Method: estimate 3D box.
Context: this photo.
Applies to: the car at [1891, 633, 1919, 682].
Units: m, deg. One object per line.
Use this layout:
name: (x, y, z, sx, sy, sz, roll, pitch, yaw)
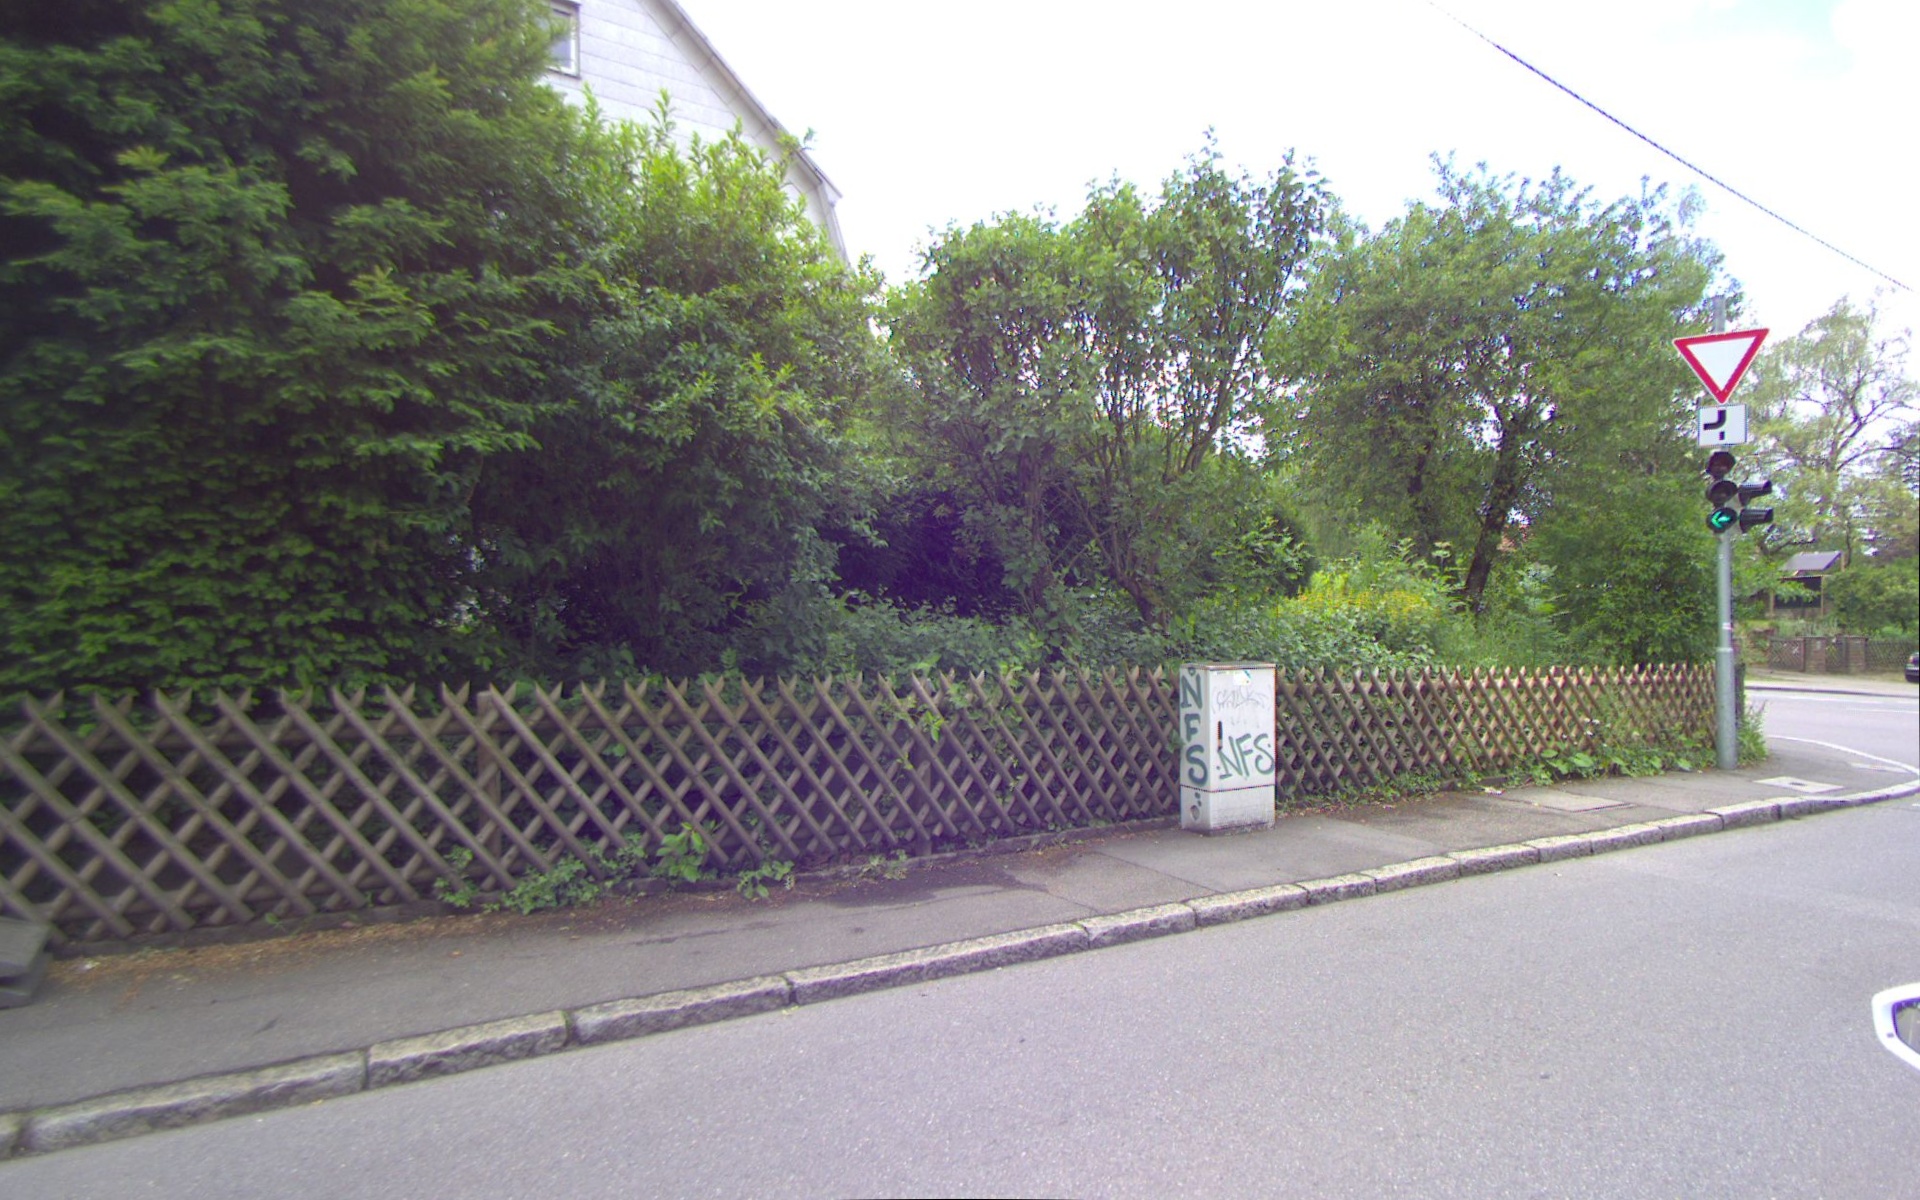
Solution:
car: (31.544, 1.866, 31.472, 3.479, 1.468, 1.700, 2, 1, -10)
